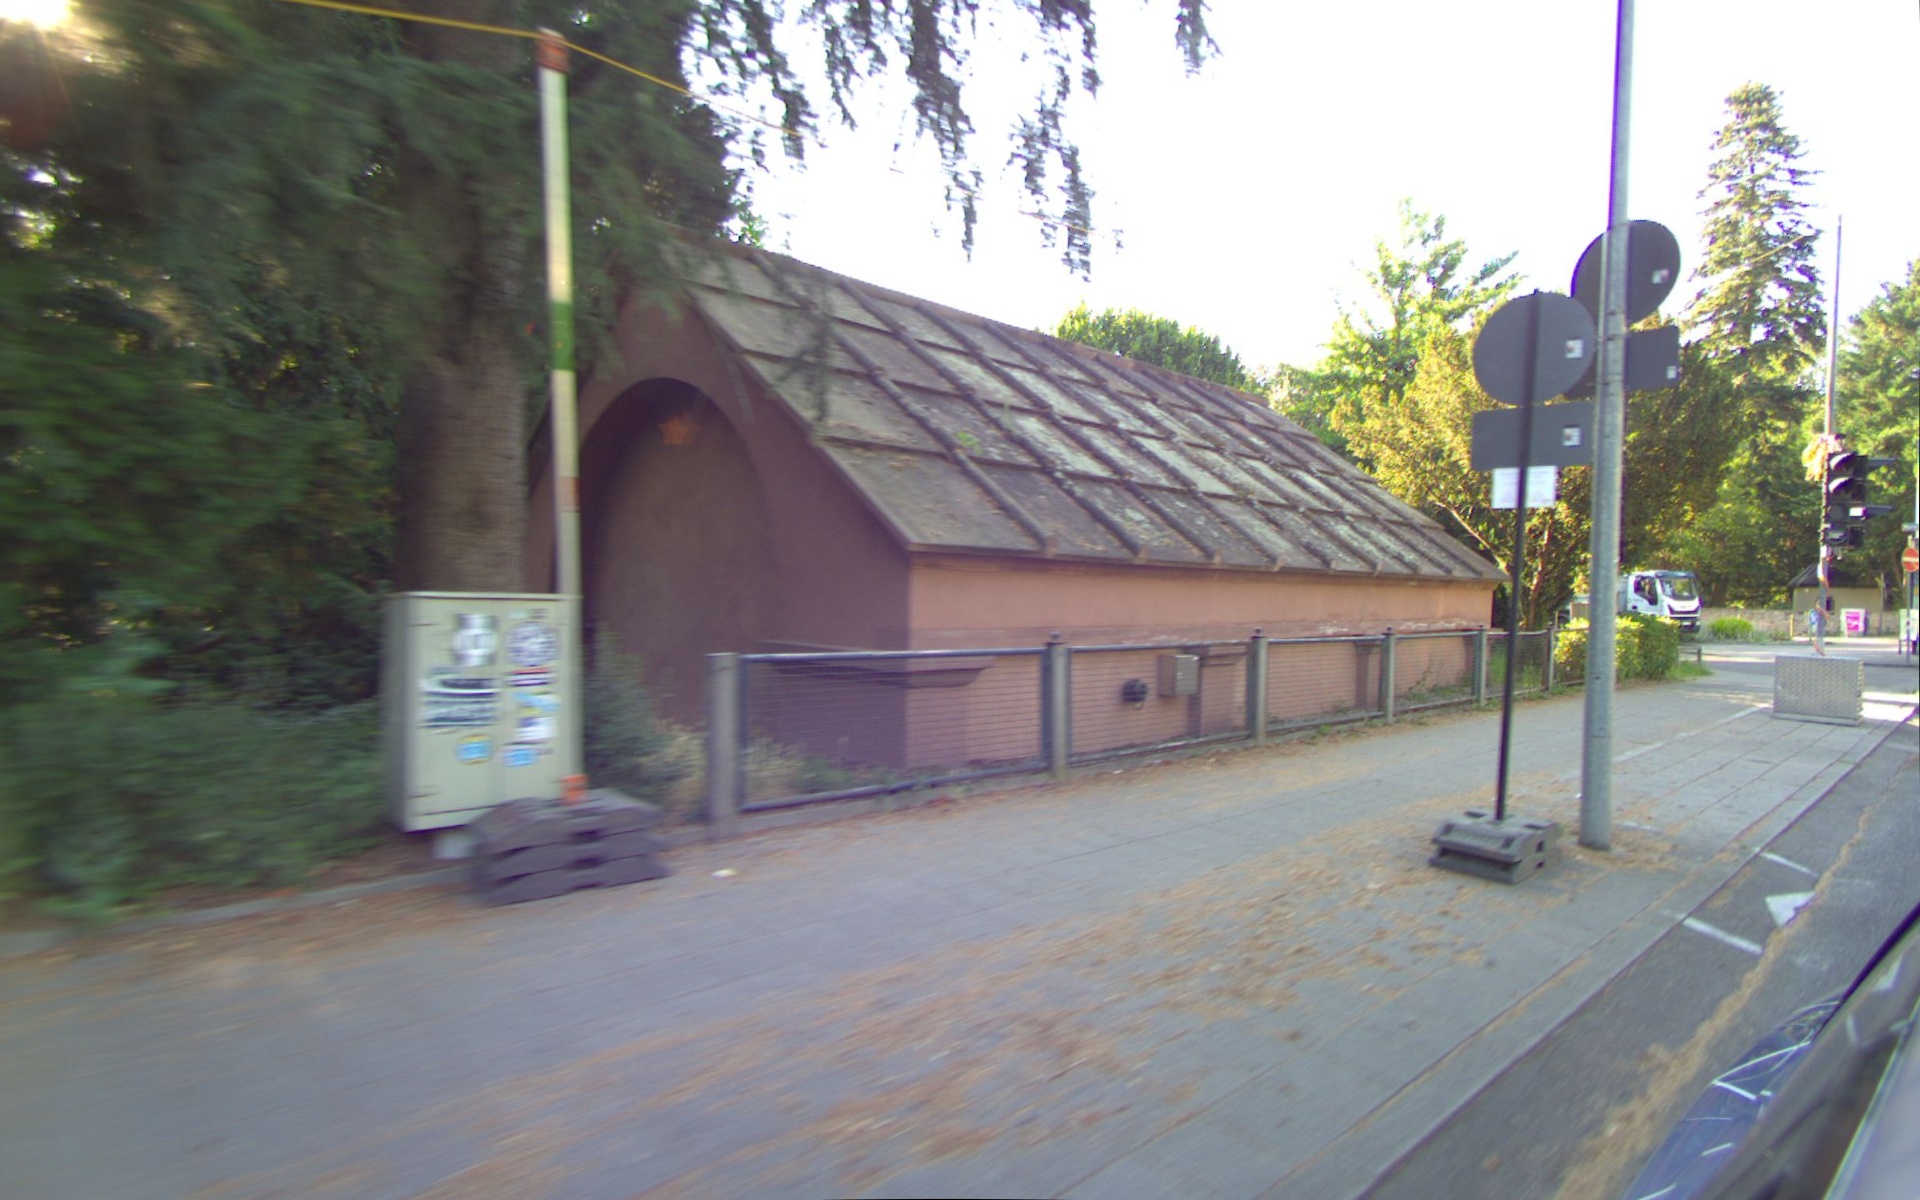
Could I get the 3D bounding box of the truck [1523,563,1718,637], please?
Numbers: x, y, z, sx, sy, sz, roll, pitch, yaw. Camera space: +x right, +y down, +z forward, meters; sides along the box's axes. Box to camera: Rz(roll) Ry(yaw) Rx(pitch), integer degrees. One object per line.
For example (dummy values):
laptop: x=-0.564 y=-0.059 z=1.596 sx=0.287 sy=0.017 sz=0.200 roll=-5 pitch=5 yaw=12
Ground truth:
truck: x=26.821 y=0.021 z=41.476 sx=2.321 sy=2.787 sz=6.523 roll=0 pitch=0 yaw=-21
